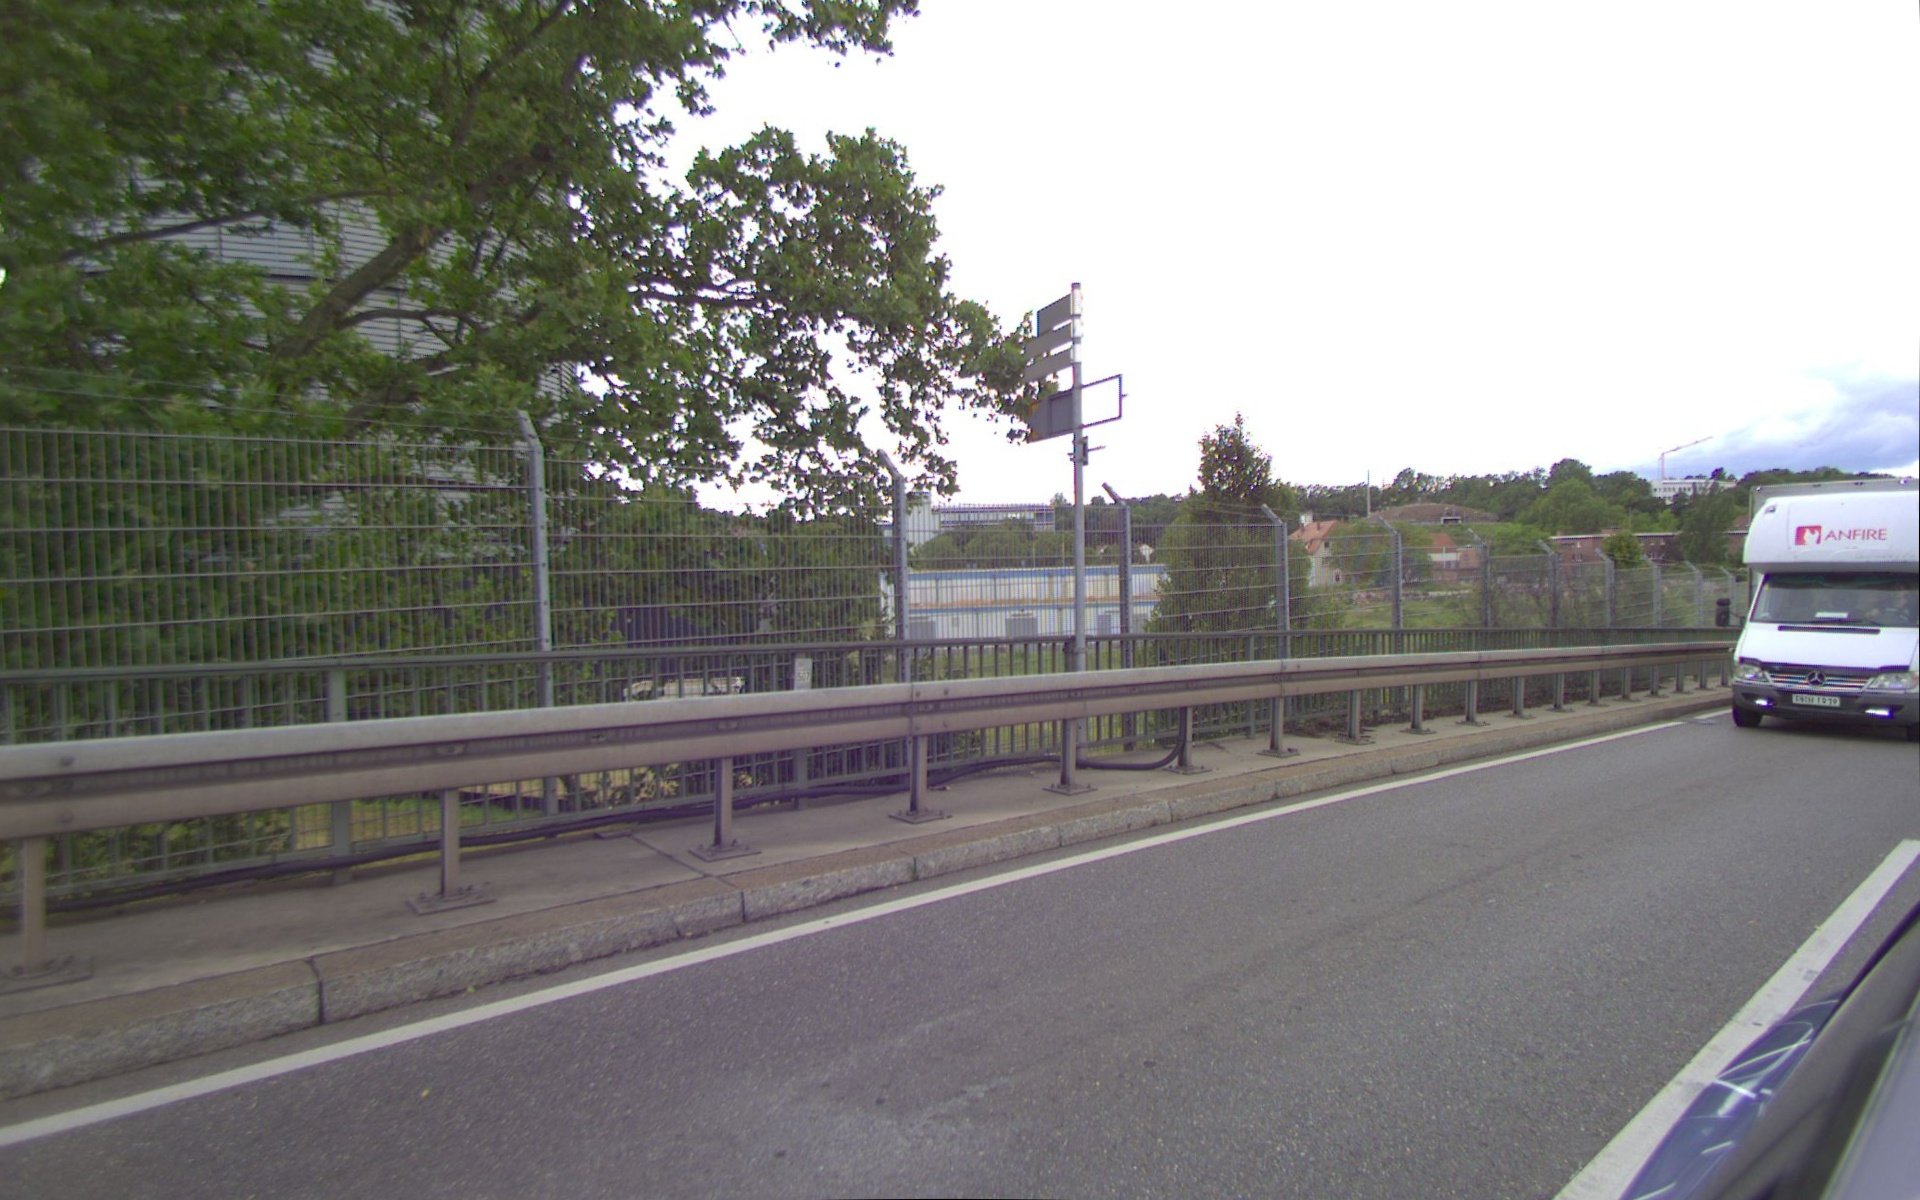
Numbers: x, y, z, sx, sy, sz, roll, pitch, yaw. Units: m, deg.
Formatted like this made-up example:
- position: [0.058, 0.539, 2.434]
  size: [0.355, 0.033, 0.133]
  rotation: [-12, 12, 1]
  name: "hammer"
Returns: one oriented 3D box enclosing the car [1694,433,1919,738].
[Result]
- position: [12.767, -0.202, 14.037]
  size: [6.966, 3.371, 2.664]
  rotation: [-1, 1, -41]
  name: "car"
